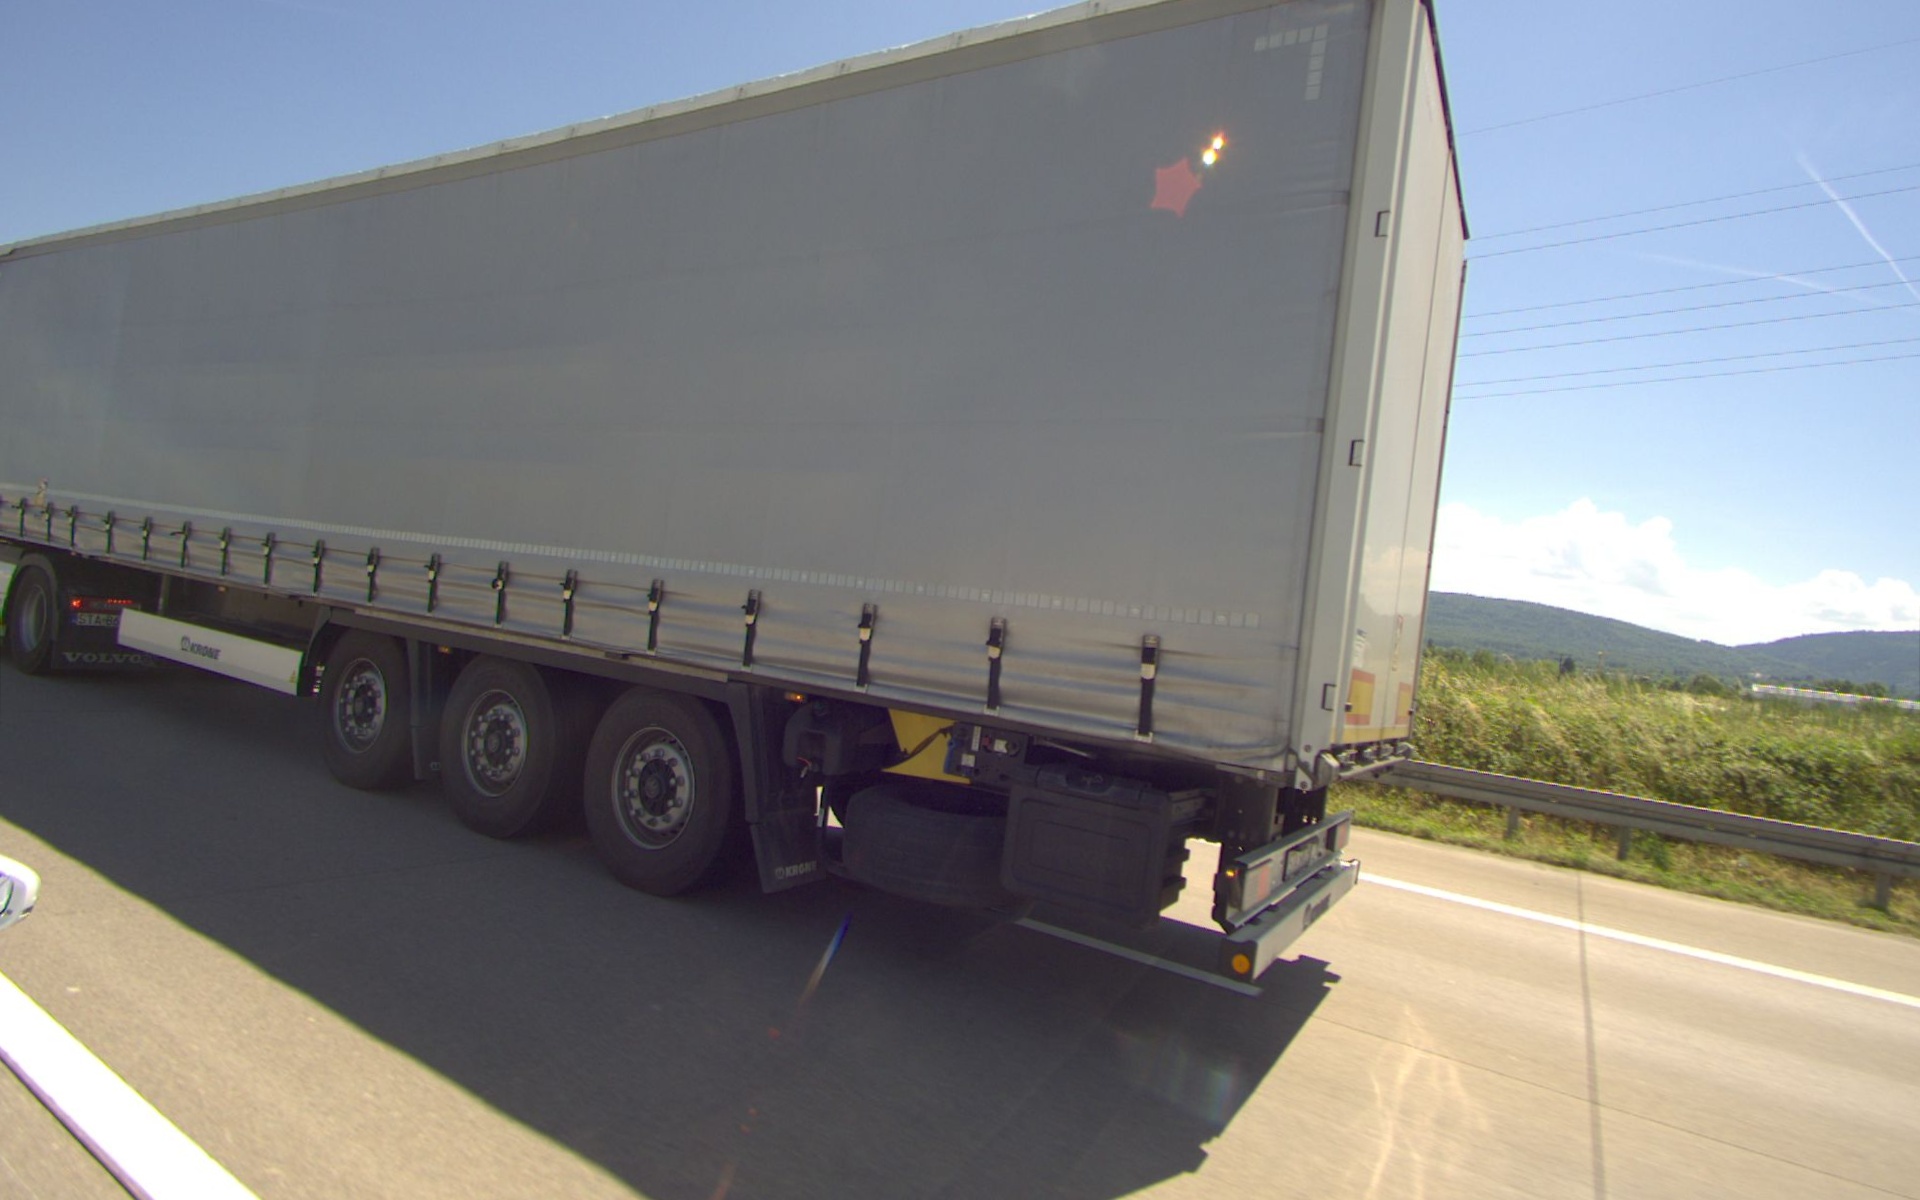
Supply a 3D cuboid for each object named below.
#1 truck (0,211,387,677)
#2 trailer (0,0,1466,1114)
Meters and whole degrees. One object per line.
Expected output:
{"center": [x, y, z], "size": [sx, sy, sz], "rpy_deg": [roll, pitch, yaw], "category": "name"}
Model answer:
{"center": [-9.936, -1.573, 11.674], "size": [5.385, 4.109, 2.991], "rpy_deg": [7, -2, 30], "category": "truck"}
{"center": [-3.996, -0.912, 8.144], "size": [13.967, 4.107, 3.025], "rpy_deg": [7, -2, 31], "category": "trailer"}
